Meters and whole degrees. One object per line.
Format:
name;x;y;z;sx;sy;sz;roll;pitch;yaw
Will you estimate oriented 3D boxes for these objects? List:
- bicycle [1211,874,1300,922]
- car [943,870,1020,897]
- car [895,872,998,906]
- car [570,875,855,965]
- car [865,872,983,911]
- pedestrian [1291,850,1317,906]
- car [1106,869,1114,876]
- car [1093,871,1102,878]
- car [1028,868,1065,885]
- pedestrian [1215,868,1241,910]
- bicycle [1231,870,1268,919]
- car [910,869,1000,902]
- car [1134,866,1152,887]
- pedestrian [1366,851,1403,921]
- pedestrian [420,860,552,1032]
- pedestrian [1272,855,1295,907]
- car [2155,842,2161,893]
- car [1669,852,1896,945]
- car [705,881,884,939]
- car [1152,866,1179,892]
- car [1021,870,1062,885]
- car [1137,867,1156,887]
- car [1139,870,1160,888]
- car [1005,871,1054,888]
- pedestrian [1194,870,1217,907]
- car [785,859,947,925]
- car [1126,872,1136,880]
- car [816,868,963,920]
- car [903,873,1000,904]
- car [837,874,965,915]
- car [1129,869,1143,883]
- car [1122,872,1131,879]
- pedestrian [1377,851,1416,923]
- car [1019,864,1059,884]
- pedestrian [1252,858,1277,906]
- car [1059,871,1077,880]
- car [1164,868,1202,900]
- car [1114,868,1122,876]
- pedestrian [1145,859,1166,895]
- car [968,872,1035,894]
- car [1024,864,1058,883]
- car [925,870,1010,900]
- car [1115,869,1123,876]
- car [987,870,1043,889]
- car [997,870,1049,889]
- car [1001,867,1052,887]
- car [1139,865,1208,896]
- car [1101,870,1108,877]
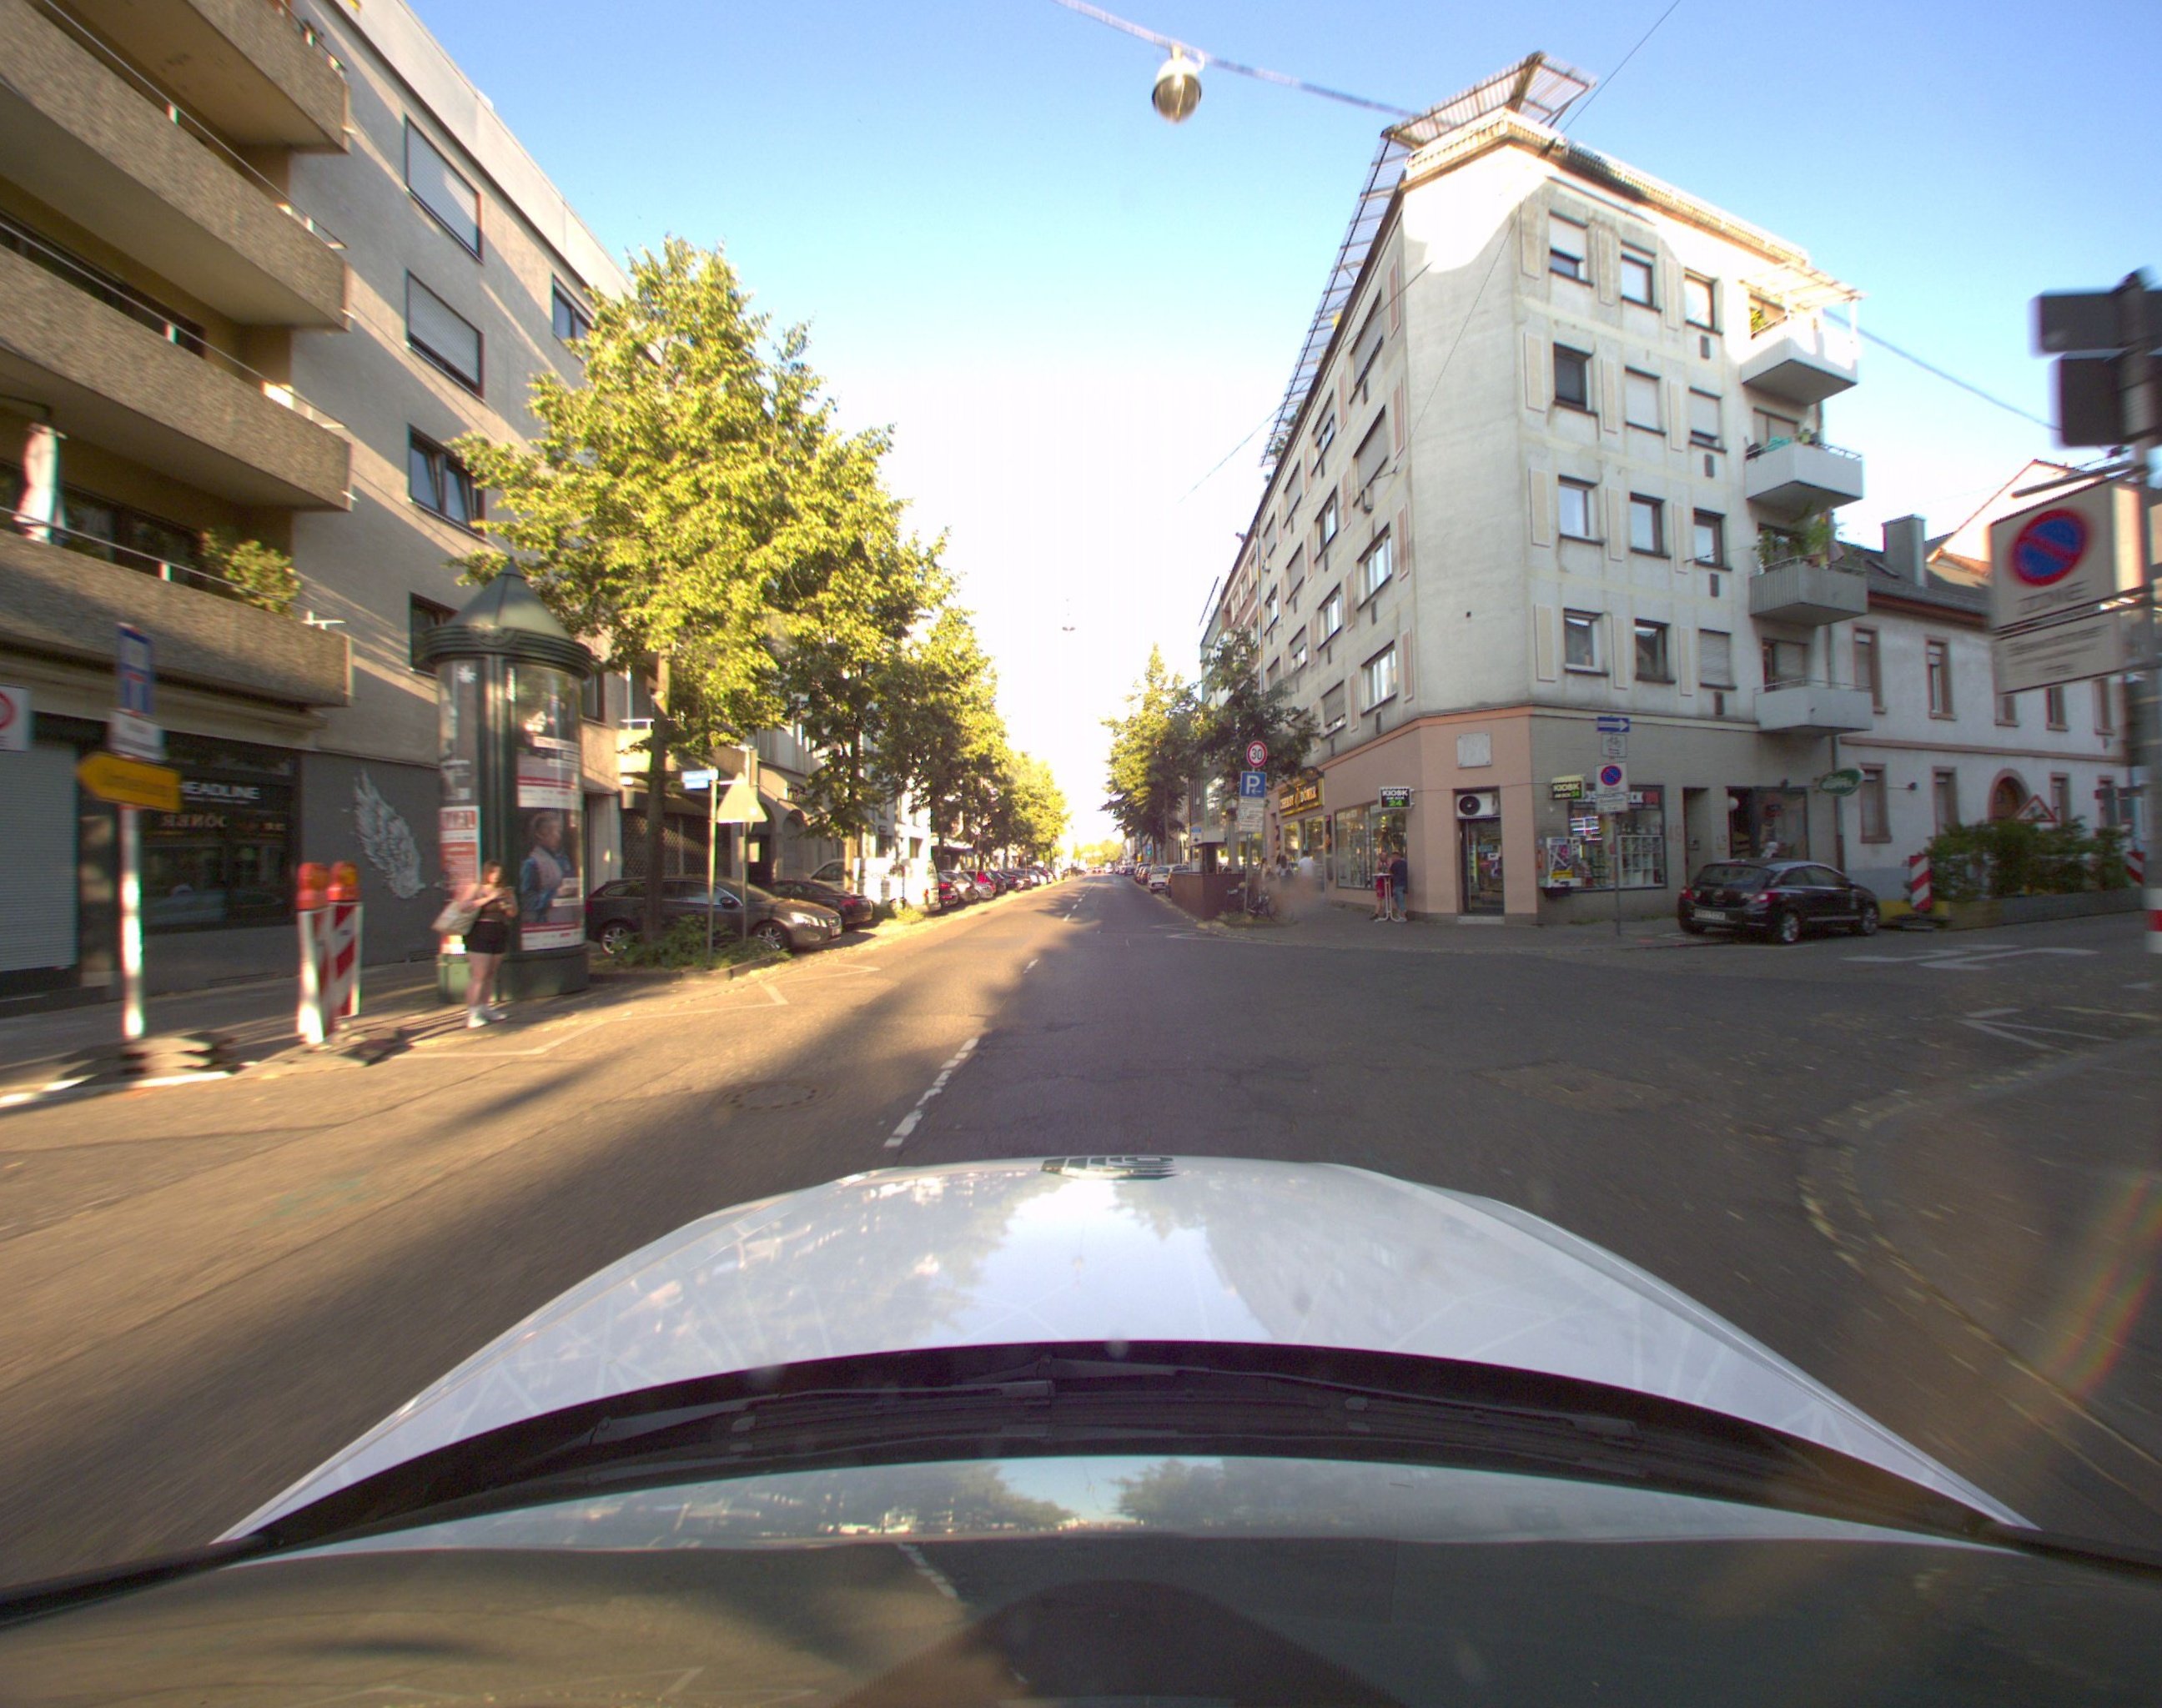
bicycle;4.139;1.028;19.379;1.935;1.074;0.710;-2;-1;33
car;-6.069;1.817;50.133;4.425;1.568;1.920;-1;-1;2
car;-6.246;1.620;38.126;4.425;1.484;1.810;-1;-1;2
car;-6.809;1.195;15.396;4.531;1.541;1.811;-1;-1;0
car;-6.424;1.522;33.559;4.425;1.506;1.845;-1;-1;2
pedestrian;7.313;0.787;26.686;0.693;1.805;0.894;-1;-1;10
car;6.783;4.286;188.230;1.714;1.475;3.306;-2;-1;3
car;3.751;4.531;184.032;1.745;1.540;3.306;-2;-1;3
car;-4.220;2.798;101.365;4.425;1.960;1.920;-1;-1;2
pedestrian;4.956;1.188;27.547;0.723;1.378;0.781;-1;-1;2
bicycle;4.331;1.016;20.837;0.593;1.178;1.856;-2;-1;21
car;-6.624;1.642;43.200;4.425;1.638;1.860;-1;-1;2
car;5.755;2.071;75.853;1.507;1.864;4.238;-1;-1;3
pedestrian;7.176;0.736;19.250;0.565;1.599;0.664;-3;0;2
pedestrian;-6.165;0.915;8.477;0.706;1.686;0.836;-1;-1;10
pedestrian;6.762;0.893;27.198;0.627;1.680;0.894;-1;-1;10
car;33.432;0.373;23.711;3.679;1.488;1.776;-1;1;-23
car;13.044;0.740;15.167;3.679;1.488;1.776;-1;1;-23
car;-7.228;1.400;20.812;3.773;1.392;2.046;-1;-2;4
car;5.441;1.584;52.713;1.507;1.578;3.220;-1;-1;3
car;-4.420;2.577;91.044;4.425;1.579;1.920;-1;-1;2
car;5.575;1.939;69.356;1.507;1.561;3.516;-1;-1;3
car;5.339;1.954;64.098;1.507;1.406;3.839;-1;-1;3
car;-4.857;2.410;77.131;4.425;1.499;1.920;-1;-1;2
pedestrian;4.687;1.288;30.739;0.723;1.378;0.781;-1;-1;2
car;-6.704;1.178;25.789;4.555;1.962;1.991;-1;-1;1
car;7.608;3.331;123.520;1.507;1.276;3.306;-1;-1;3
car;-6.614;1.374;28.492;4.553;1.698;2.061;-1;-1;2
car;-6.387;1.698;40.435;4.425;1.458;1.860;-1;-1;2
car;-6.806;1.523;31.119;4.425;1.467;1.780;-1;-1;2
car;6.369;2.549;94.230;1.507;1.562;3.775;-1;-1;3
car;7.918;3.761;141.728;1.507;1.263;3.306;-1;-1;3
pedestrian;7.162;0.733;18.484;0.565;1.584;0.664;-3;0;2
car;-4.817;2.312;93.378;4.425;2.199;1.920;-1;-1;2
pedestrian;6.276;0.950;27.828;0.791;1.625;0.915;-2;-1;14
car;-2.228;3.753;142.757;1.909;1.571;3.323;-2;-2;26
car;4.840;1.396;39.071;1.536;1.433;3.681;-1;-1;3
car;7.974;3.931;175.747;1.745;1.540;3.306;-2;-1;3
pedestrian;4.090;1.244;44.645;0.916;1.926;1.014;0;-1;-8
car;-5.491;2.014;56.678;4.425;1.449;1.920;-1;-1;2
car;-5.476;2.631;111.494;4.425;2.435;1.920;-1;-1;2
car;-6.288;1.722;45.423;4.425;1.568;1.920;-1;-1;2
car;7.695;3.799;164.578;1.507;1.298;3.306;-1;-1;3
car;-5.475;2.120;67.628;4.425;1.523;1.920;-1;-1;2
car;-5.090;2.220;71.914;4.287;1.598;1.920;-1;-1;2
car;-4.944;2.115;74.017;4.425;1.759;1.920;-1;-1;2
car;5.038;1.392;44.103;1.654;1.589;3.846;-2;-1;44
car;5.840;4.888;204.000;1.563;1.506;3.306;-2;-1;3
